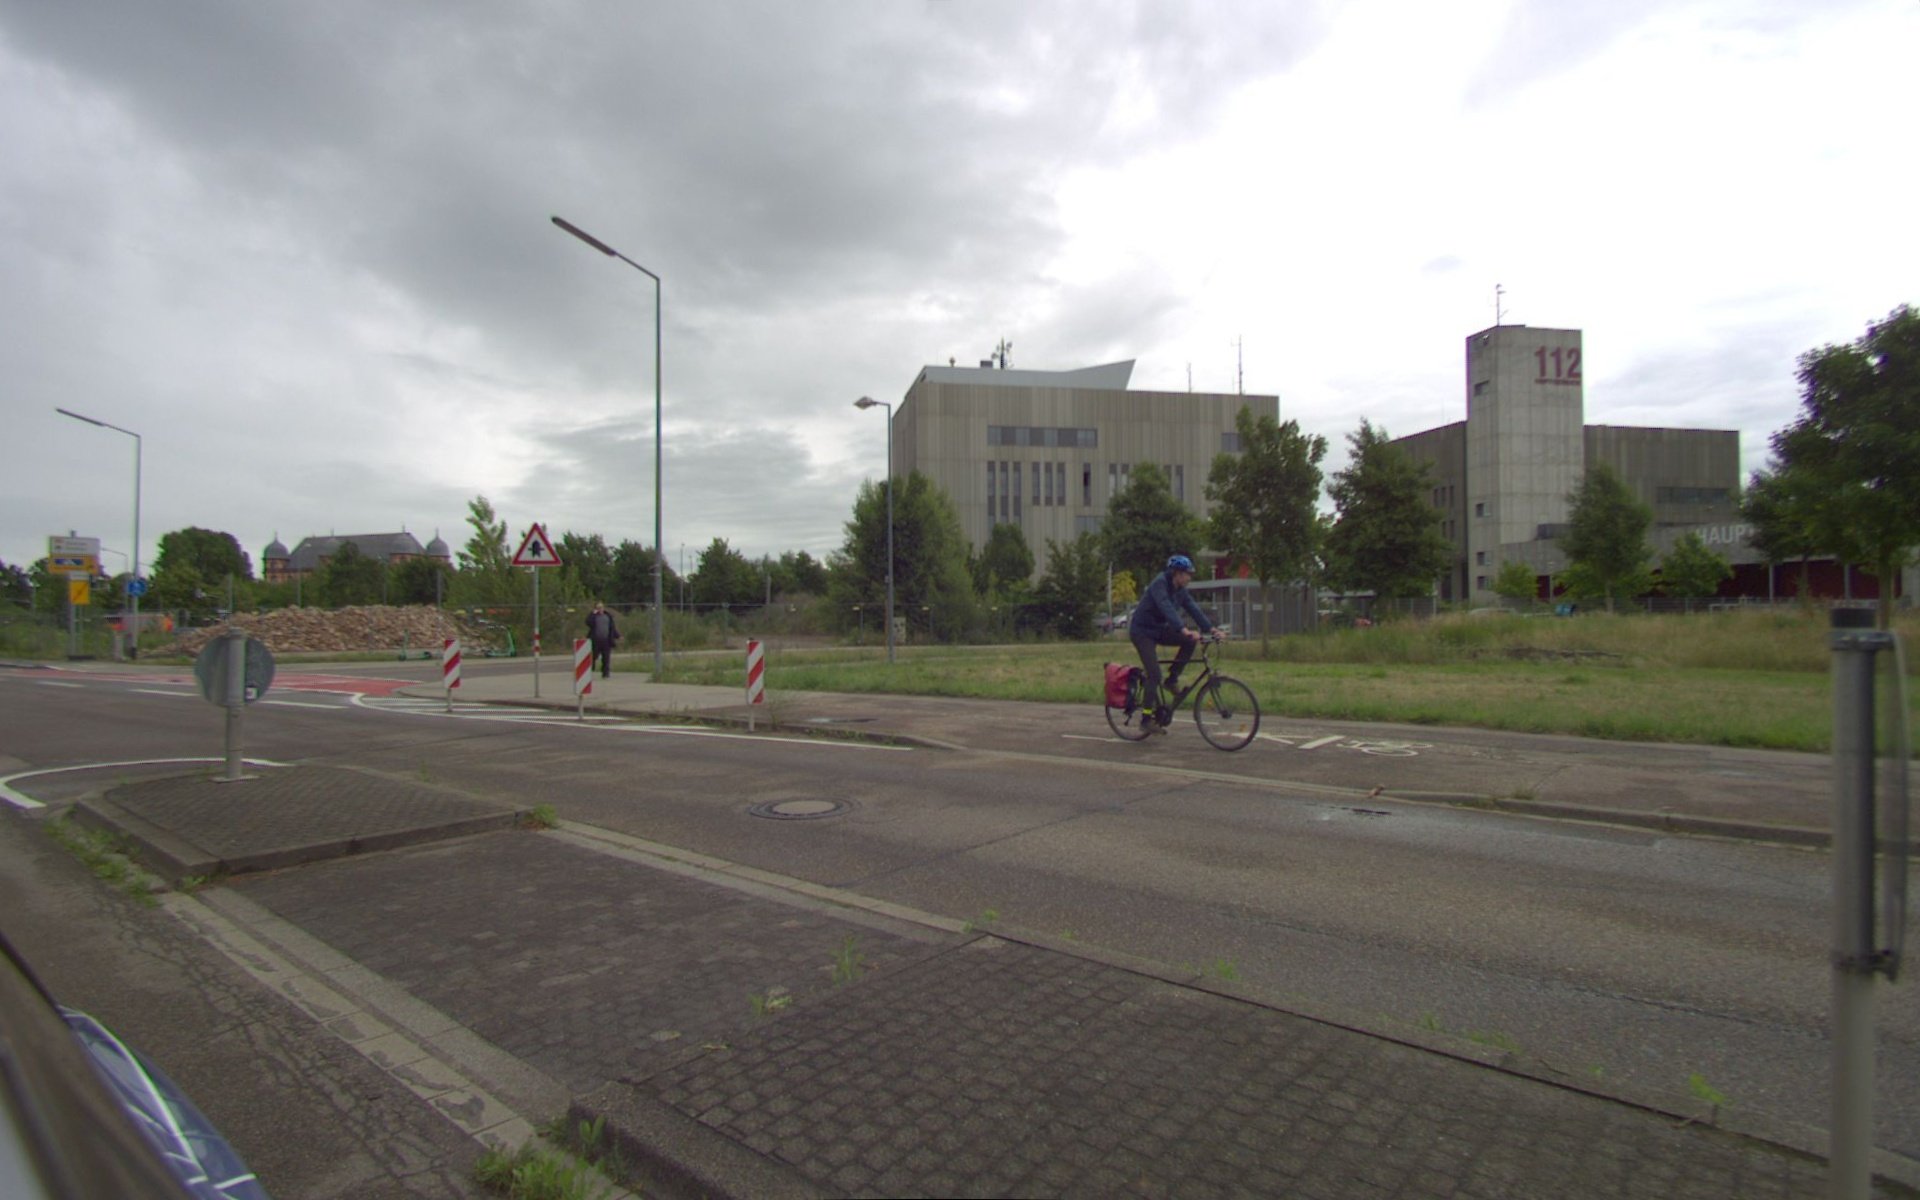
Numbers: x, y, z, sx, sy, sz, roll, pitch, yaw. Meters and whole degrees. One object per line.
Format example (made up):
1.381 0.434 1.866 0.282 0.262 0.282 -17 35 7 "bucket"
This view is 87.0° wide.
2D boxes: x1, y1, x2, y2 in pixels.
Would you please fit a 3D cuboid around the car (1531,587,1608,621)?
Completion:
38.915 0.288 64.654 3.932 2.029 2.006 -1 -2 -17 "car"

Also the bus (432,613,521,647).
-60.670 3.762 127.270 9.730 4.012 2.740 -1 -2 -10 "bus"

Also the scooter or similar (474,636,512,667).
-17.972 1.975 38.959 1.315 1.151 0.413 -1 0 -23 "scooter or similar"

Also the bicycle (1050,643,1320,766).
2.184 0.995 10.078 2.466 1.060 0.875 -3 -2 38 "bicycle"

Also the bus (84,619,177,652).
-98.689 4.218 120.502 8.258 3.676 2.741 -1 -2 -13 "bus"

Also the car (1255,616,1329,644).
20.417 1.828 62.306 3.935 1.608 1.777 -1 -1 -10 "car"

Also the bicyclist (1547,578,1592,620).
28.638 -0.031 47.547 1.379 1.914 1.080 -1 -2 -14 "bicyclist"

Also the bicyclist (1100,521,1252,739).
2.154 0.306 10.109 1.175 2.029 0.853 -3 -2 37 "bicyclist"

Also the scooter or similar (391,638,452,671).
-19.949 2.003 37.482 1.873 1.151 0.658 -1 -1 -7 "scooter or similar"

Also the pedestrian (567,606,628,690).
-7.970 1.052 22.236 1.077 1.796 0.834 -3 -3 43 "pedestrian"

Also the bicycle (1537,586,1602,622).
28.625 0.211 47.552 2.458 1.596 1.089 -1 -2 -13 "bicycle"

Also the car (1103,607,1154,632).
12.891 1.490 77.372 3.422 1.774 1.732 -1 -1 -12 "car"
